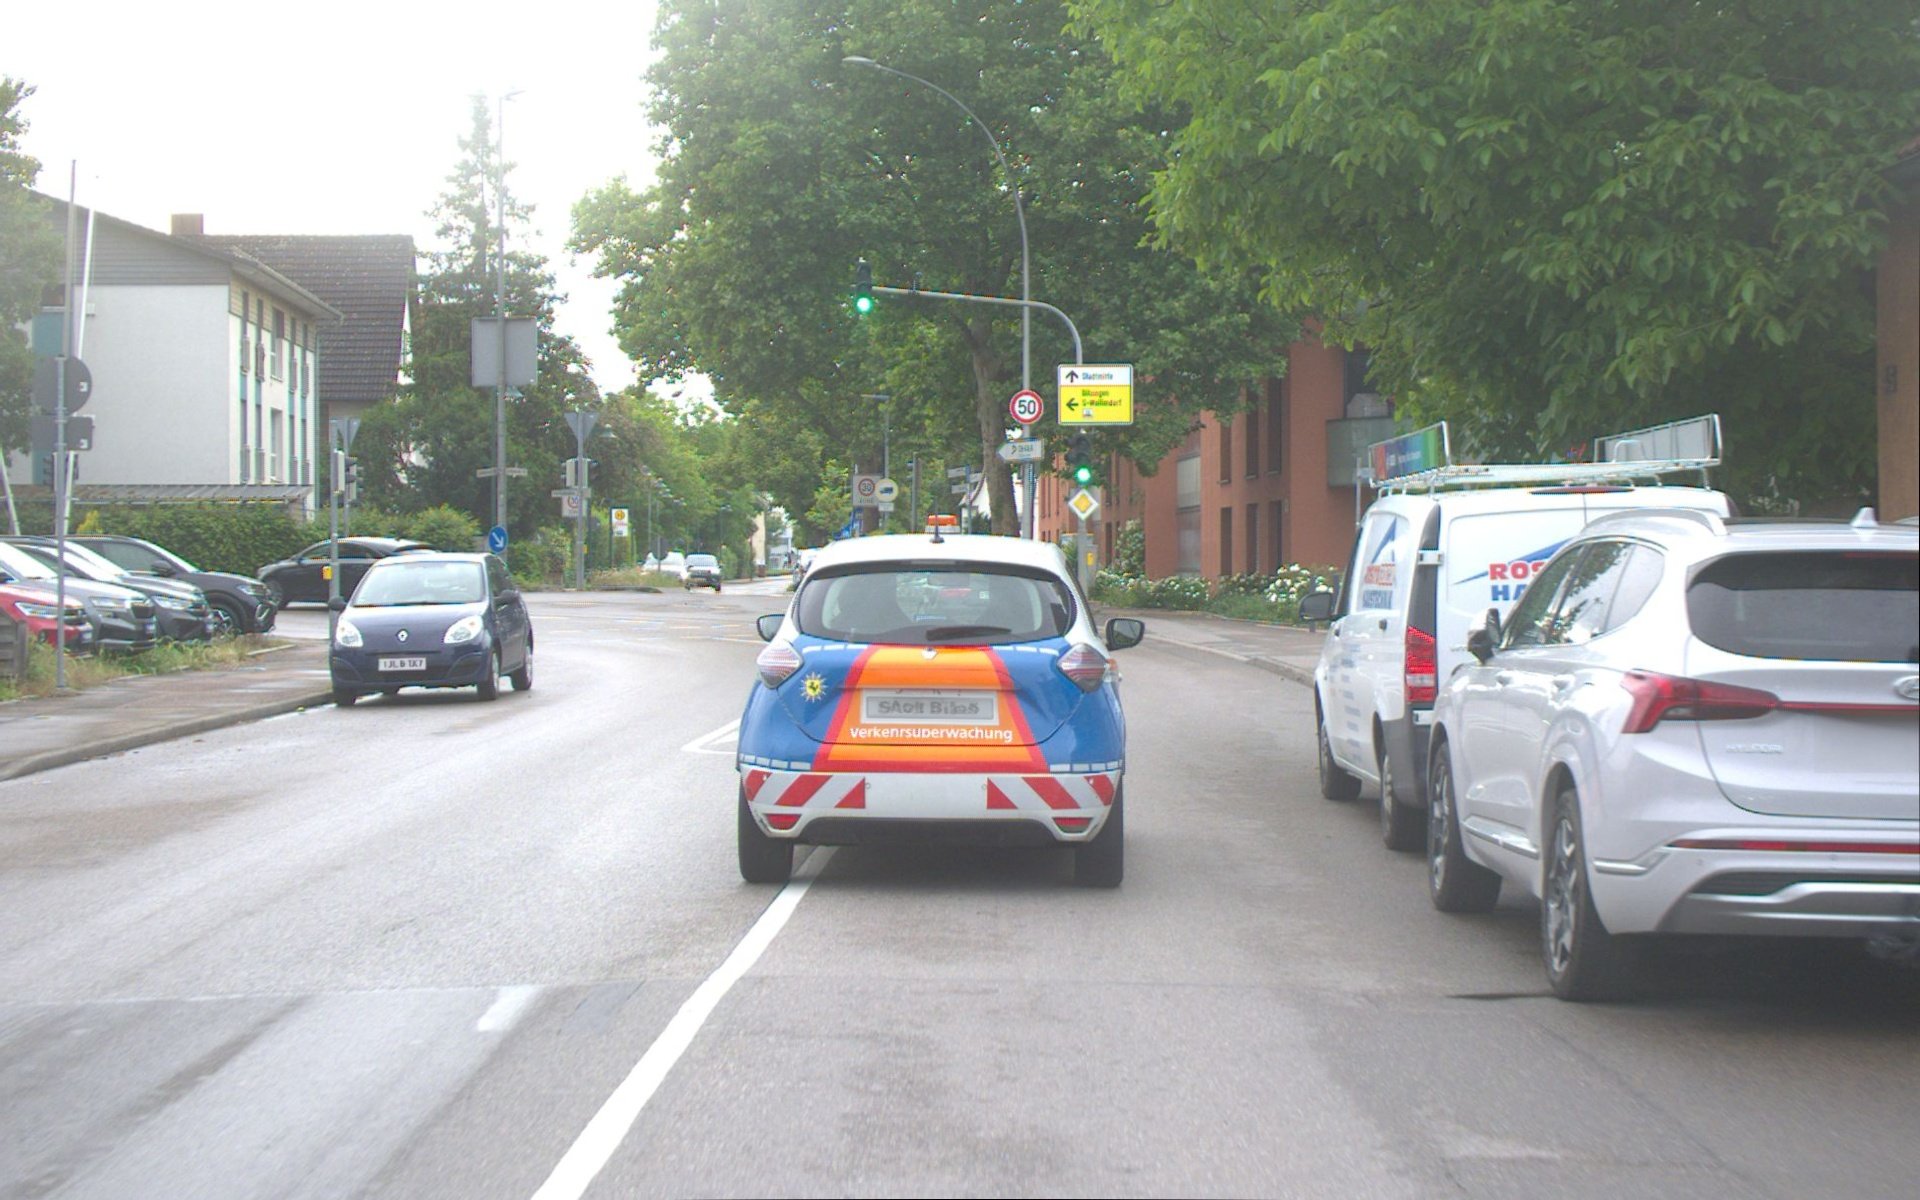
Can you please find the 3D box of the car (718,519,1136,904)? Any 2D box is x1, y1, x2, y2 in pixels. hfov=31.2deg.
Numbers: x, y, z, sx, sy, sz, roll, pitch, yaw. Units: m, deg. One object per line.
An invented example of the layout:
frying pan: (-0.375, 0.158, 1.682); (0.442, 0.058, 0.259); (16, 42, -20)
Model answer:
car: (-0.168, 0.423, 16.462); (1.745, 1.575, 4.001); (-1, 2, -1)

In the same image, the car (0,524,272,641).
car: (-11.694, -0.257, 48.284); (3.945, 1.525, 1.623); (1, 2, -11)

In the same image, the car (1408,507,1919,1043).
car: (2.940, 0.506, 12.847); (1.865, 1.659, 4.320); (1, 1, -1)

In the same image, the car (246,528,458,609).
car: (-11.766, -0.627, 66.410); (3.996, 1.423, 1.796); (3, 3, 38)

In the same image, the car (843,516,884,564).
car: (-4.196, -2.609, 149.636); (1.643, 2.010, 3.716); (1, 2, -3)

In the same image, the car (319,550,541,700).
car: (-5.347, 0.215, 35.060); (1.626, 1.428, 3.684); (0, 1, 1)

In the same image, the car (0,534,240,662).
car: (-10.884, -0.050, 41.428); (3.987, 1.436, 1.804); (1, 2, 2)

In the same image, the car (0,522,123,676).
car: (-10.981, -0.053, 35.917); (3.987, 1.538, 1.804); (1, 2, 2)

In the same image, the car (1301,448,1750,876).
car: (2.956, 0.214, 18.935); (1.778, 2.022, 4.754); (1, 2, 2)

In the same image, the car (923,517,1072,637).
car: (0.588, -0.361, 49.573); (1.994, 1.568, 4.000); (1, 2, 2)

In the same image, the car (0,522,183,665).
car: (-11.006, -0.109, 38.872); (3.987, 1.538, 1.804); (1, 2, 2)
